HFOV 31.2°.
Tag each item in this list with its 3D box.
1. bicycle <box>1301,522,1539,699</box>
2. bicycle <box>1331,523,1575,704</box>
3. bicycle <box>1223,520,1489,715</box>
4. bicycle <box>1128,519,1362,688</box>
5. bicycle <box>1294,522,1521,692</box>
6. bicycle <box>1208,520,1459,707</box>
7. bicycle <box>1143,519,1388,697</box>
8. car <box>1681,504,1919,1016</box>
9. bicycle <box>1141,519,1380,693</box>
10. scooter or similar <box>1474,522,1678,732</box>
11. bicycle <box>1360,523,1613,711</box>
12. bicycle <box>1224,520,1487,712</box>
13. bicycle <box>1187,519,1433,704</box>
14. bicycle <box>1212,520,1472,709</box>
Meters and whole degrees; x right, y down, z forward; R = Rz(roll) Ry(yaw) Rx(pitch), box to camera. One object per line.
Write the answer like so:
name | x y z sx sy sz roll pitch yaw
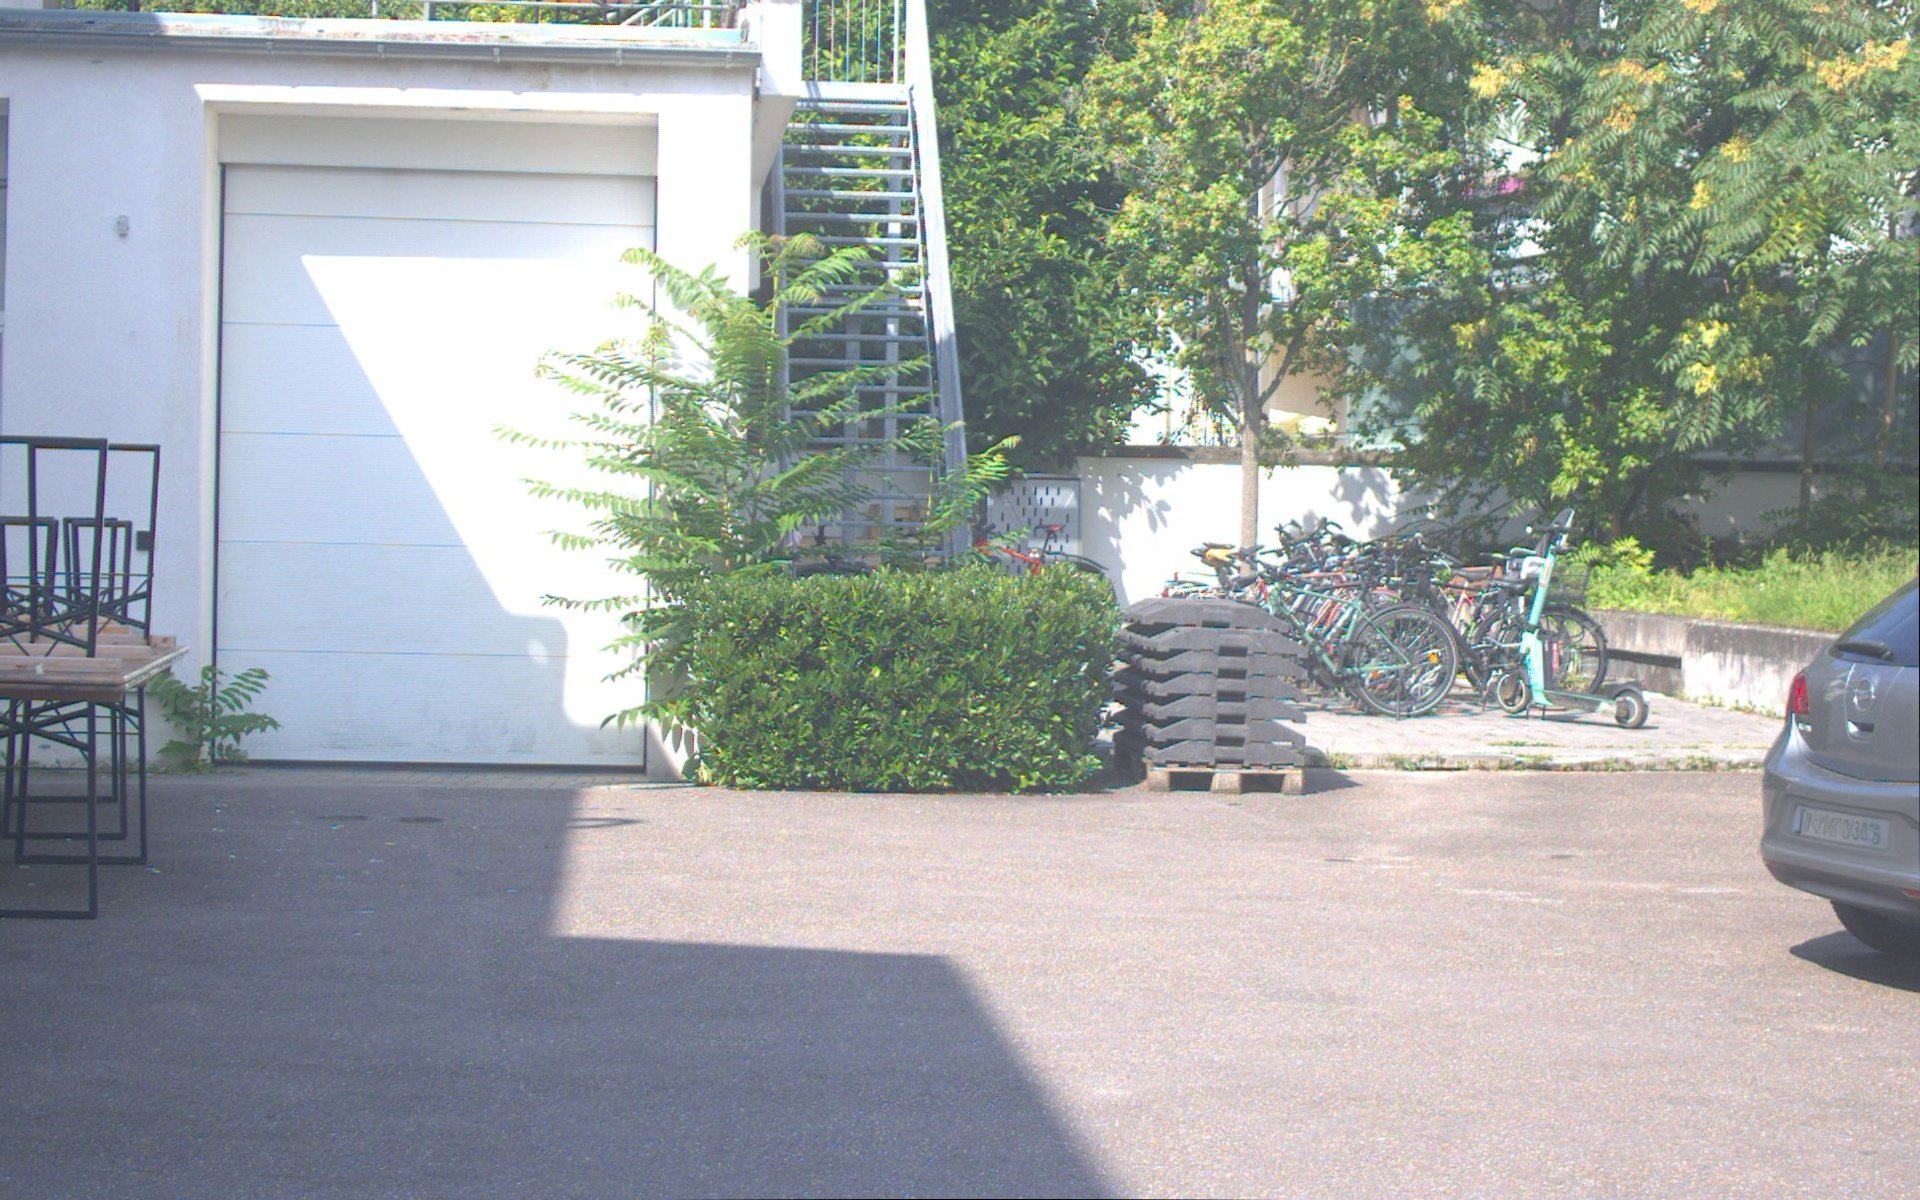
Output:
bicycle | 3.214 0.067 24.064 1.623 1.210 0.424 0 2 7
bicycle | 3.364 0.084 23.499 1.623 1.210 0.424 0 2 8
bicycle | 2.481 0.107 21.590 1.623 1.210 0.327 0 2 -4
bicycle | 2.061 0.019 24.911 1.622 1.210 0.424 0 2 -10
bicycle | 3.262 0.044 25.098 1.623 1.210 0.424 0 2 7
bicycle | 2.456 0.081 22.658 1.623 1.210 0.327 0 2 5
bicycle | 2.096 0.049 23.673 1.623 1.210 0.424 0 2 -6
car | 4.525 0.457 11.036 3.931 1.477 1.775 0 1 -14
bicycle | 2.122 0.034 24.312 1.622 1.210 0.424 0 2 -10
scooter or similar | 3.831 0.149 21.459 0.378 1.256 1.348 -1 2 -37
bicycle | 3.466 0.106 22.644 1.624 1.210 0.327 1 2 10
bicycle | 2.518 0.100 21.916 1.623 1.210 0.327 0 2 -4
bicycle | 2.345 0.070 23.014 1.623 1.210 0.327 0 2 8
bicycle | 2.462 0.092 22.206 1.623 1.210 0.327 0 2 -4
